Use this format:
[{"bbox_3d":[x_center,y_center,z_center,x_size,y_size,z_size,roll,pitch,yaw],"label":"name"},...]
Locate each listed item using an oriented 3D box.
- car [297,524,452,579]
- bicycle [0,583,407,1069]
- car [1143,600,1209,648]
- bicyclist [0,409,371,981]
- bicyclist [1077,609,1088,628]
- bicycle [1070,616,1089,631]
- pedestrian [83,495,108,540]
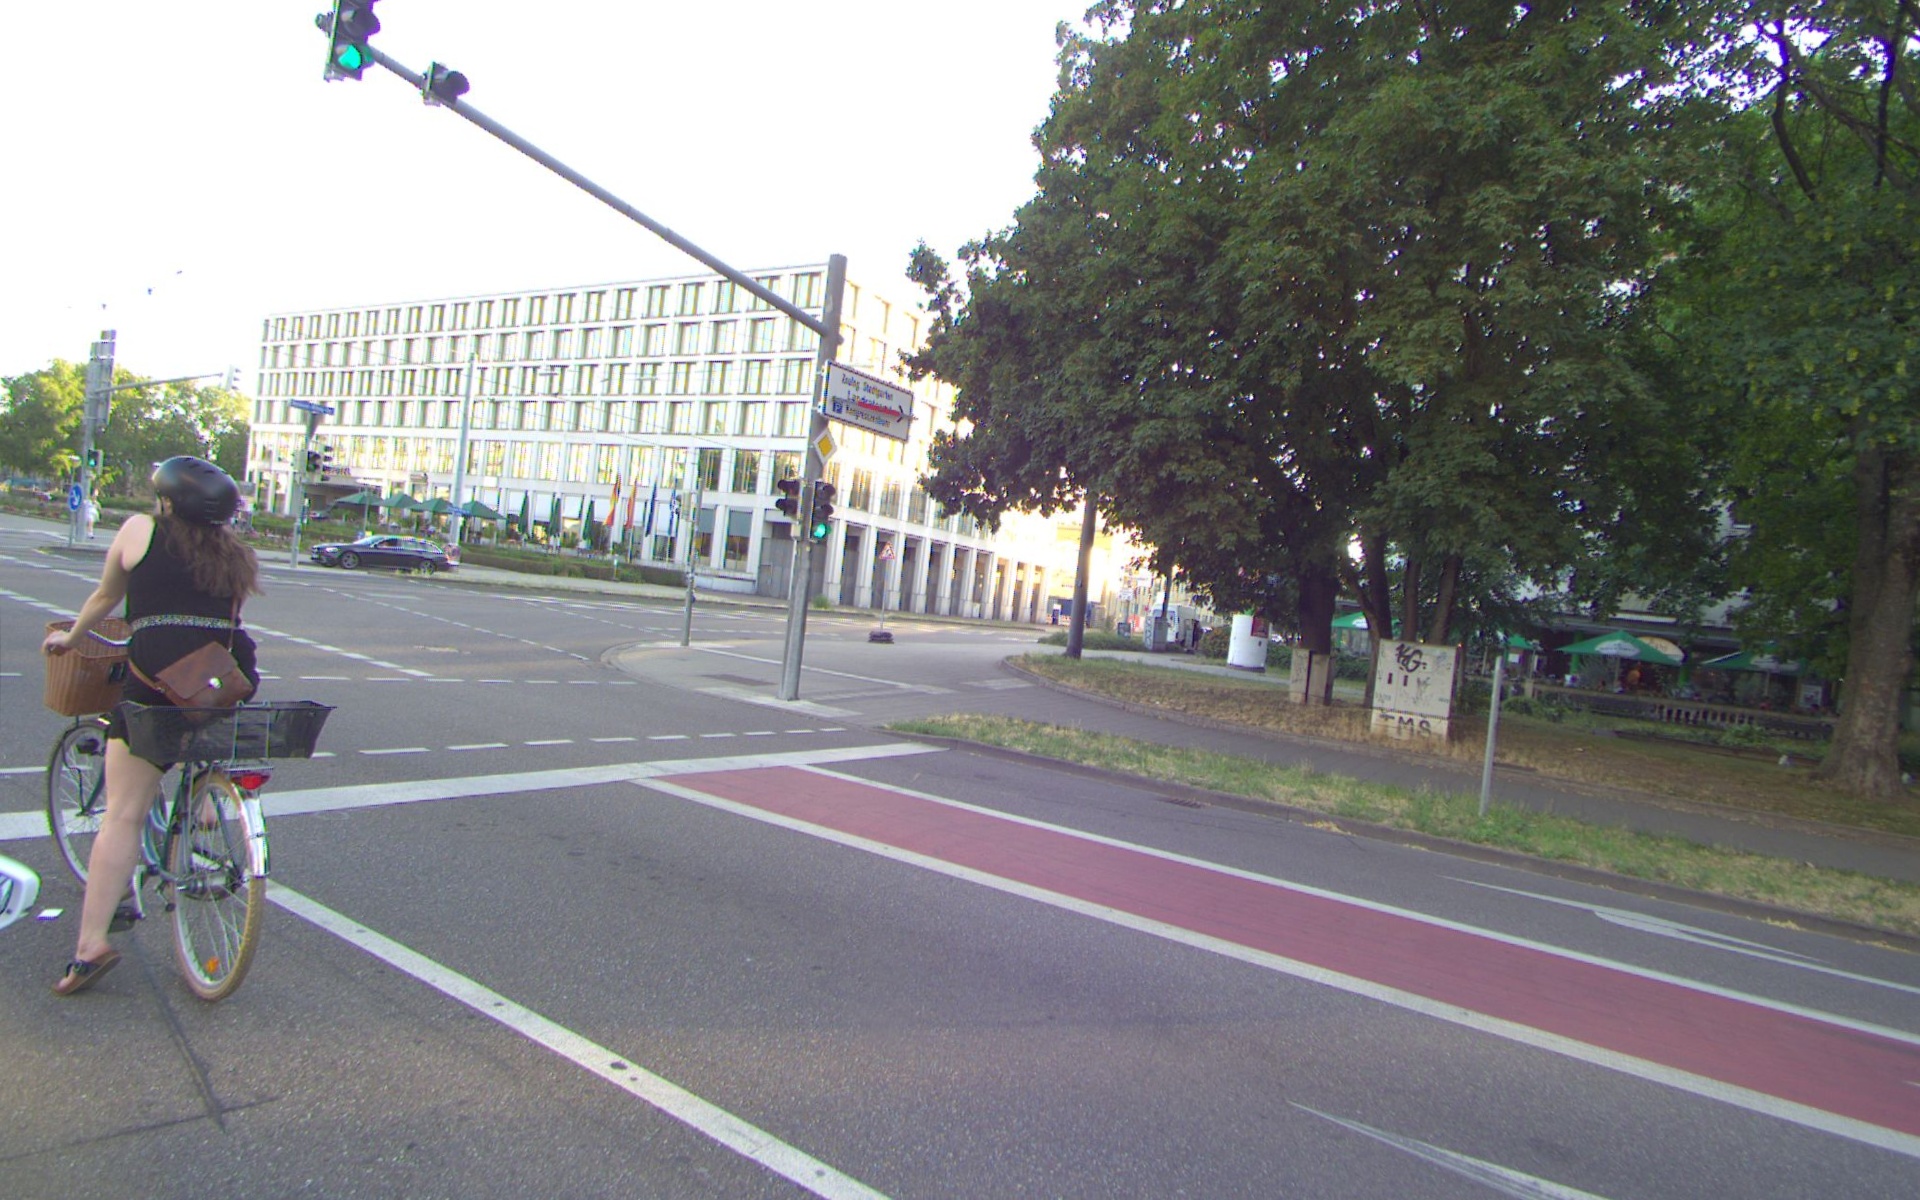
[{"bbox_3d":[-22.948,-1.878,39.601,1.968,1.534,4.826,7,0,34],"label":"car"},{"bbox_3d":[-2.829,0.617,3.477,1.971,1.146,0.612,7,-1,32],"label":"bicycle"},{"bbox_3d":[11.988,1.362,55.575,1.967,2.318,4.605,6,0,31],"label":"car"},{"bbox_3d":[-2.667,0.252,3.410,0.982,1.655,0.600,7,0,32],"label":"bicyclist"},{"bbox_3d":[10.713,1.625,87.771,0.567,1.556,0.708,7,1,29],"label":"bicyclist"},{"bbox_3d":[10.370,2.071,87.223,0.592,1.120,2.775,7,0,29],"label":"bicycle"},{"bbox_3d":[-31.506,-2.988,36.678,0.402,1.559,0.491,7,2,31],"label":"pedestrian"}]
